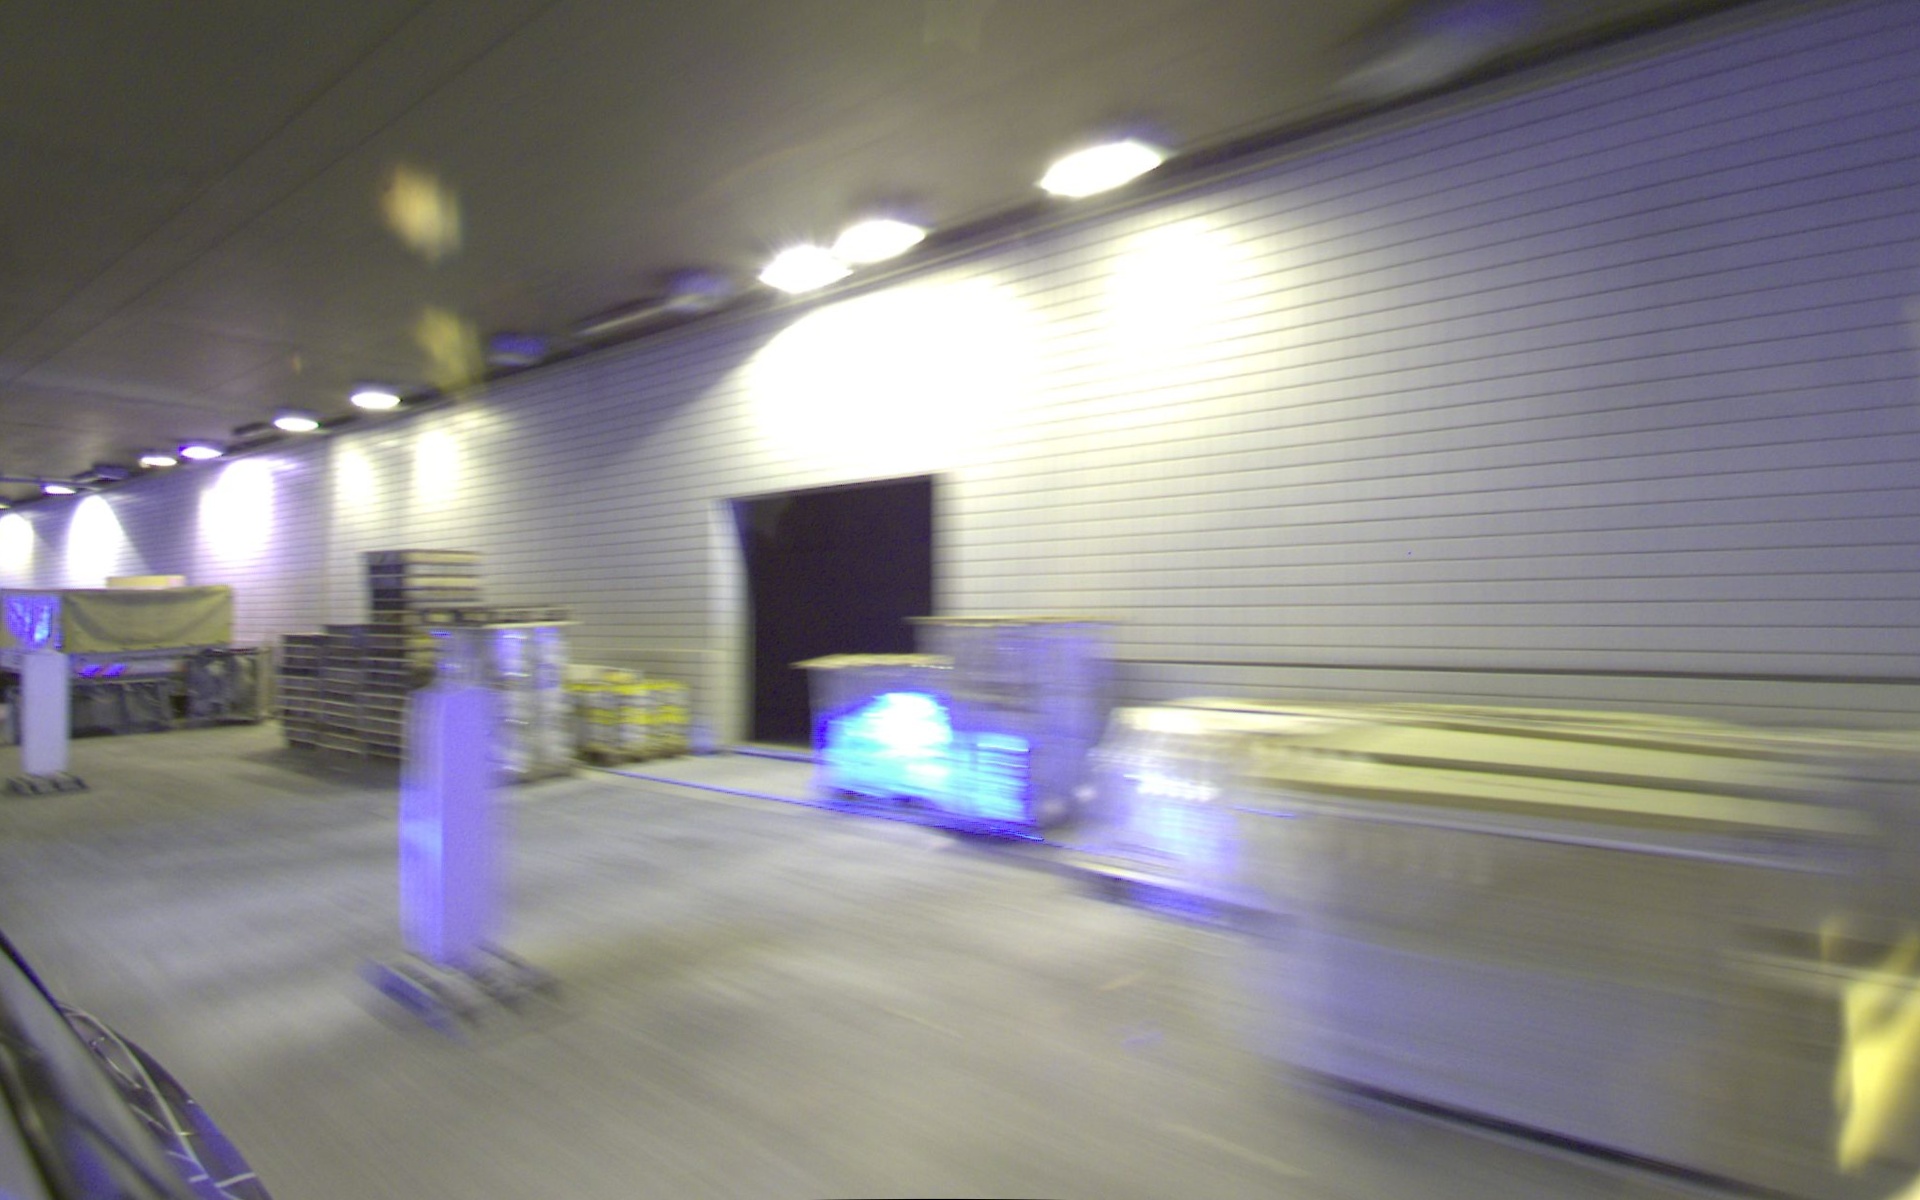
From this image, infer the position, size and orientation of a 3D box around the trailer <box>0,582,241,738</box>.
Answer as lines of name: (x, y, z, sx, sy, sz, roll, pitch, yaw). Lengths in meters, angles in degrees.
trailer: (-12.684, 0.796, 15.023, 3.456, 2.029, 2.191, -1, -1, 33)
